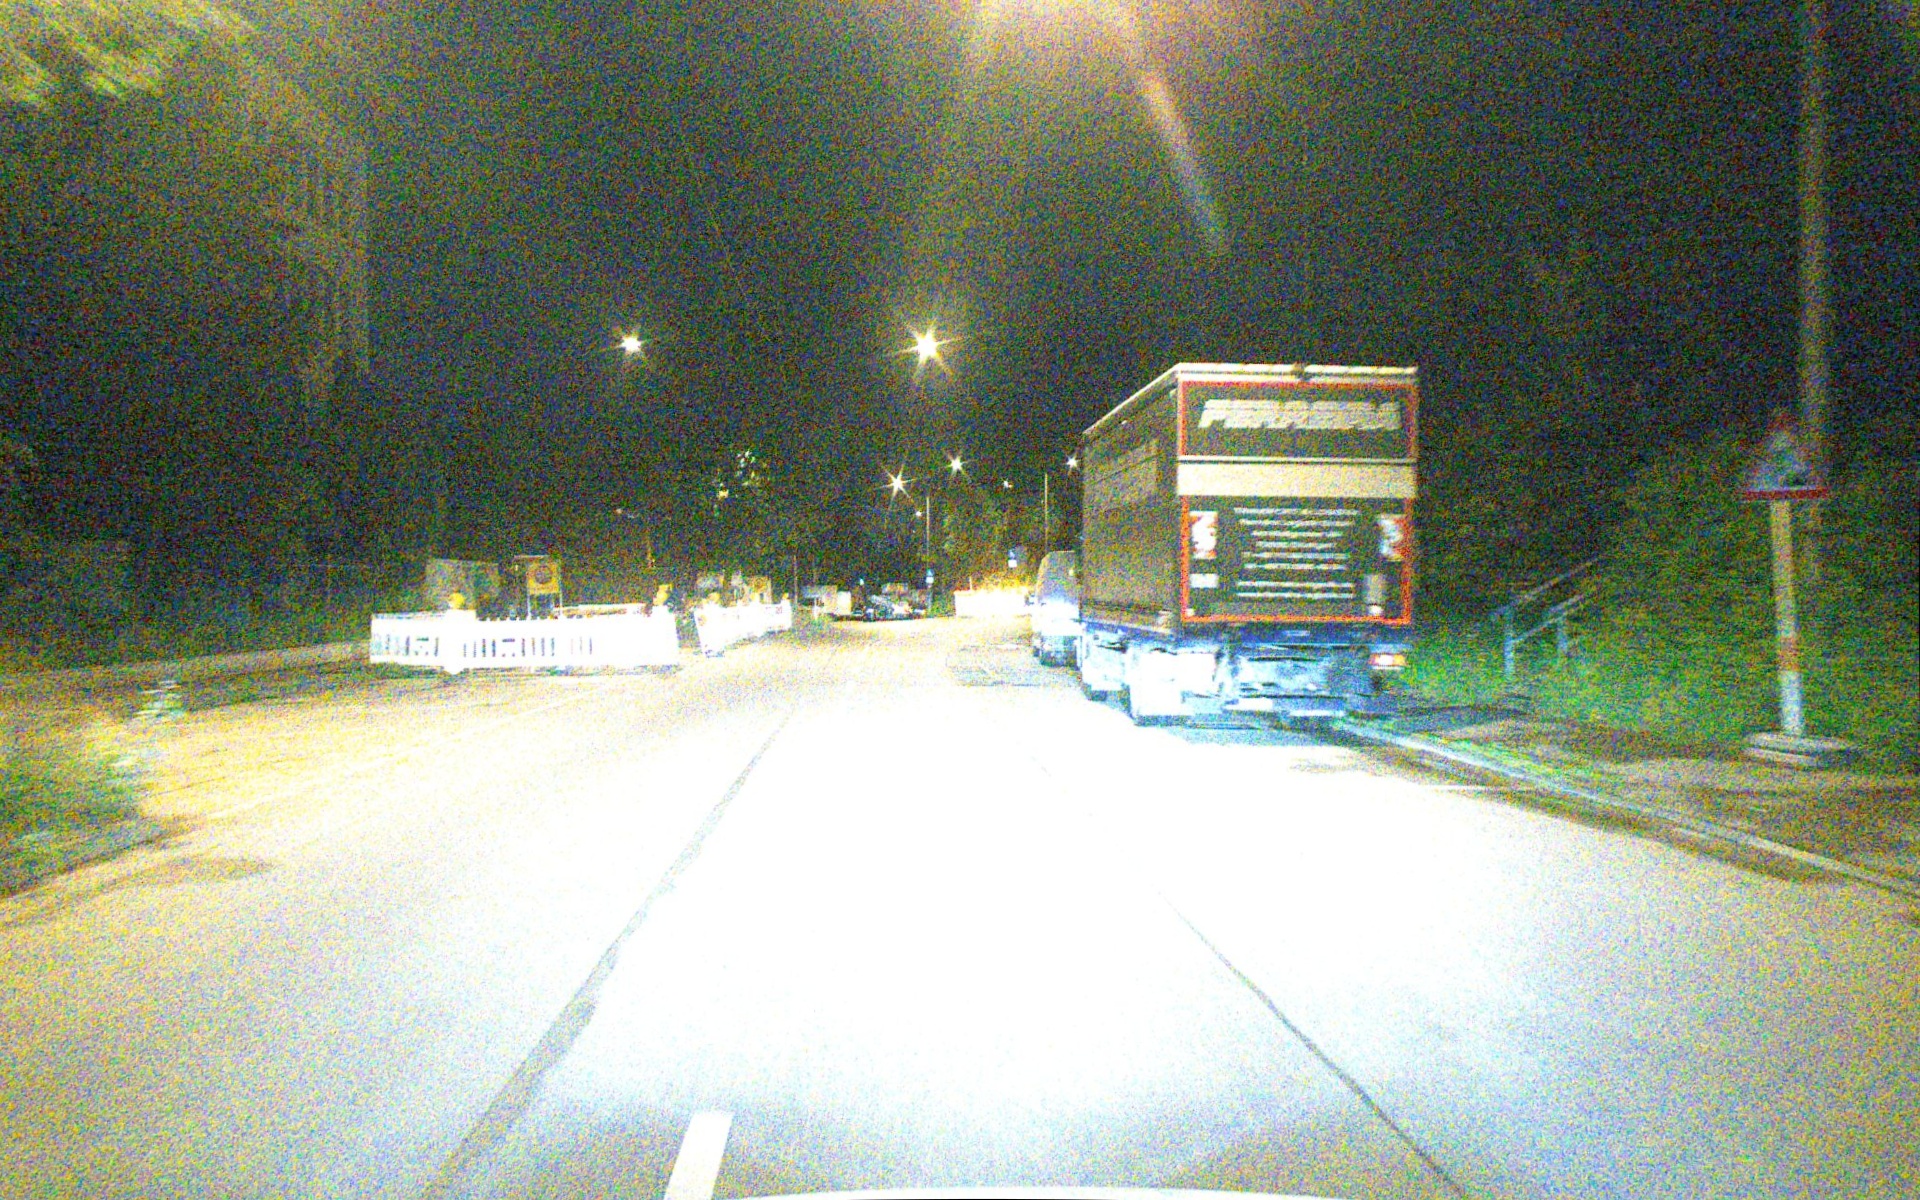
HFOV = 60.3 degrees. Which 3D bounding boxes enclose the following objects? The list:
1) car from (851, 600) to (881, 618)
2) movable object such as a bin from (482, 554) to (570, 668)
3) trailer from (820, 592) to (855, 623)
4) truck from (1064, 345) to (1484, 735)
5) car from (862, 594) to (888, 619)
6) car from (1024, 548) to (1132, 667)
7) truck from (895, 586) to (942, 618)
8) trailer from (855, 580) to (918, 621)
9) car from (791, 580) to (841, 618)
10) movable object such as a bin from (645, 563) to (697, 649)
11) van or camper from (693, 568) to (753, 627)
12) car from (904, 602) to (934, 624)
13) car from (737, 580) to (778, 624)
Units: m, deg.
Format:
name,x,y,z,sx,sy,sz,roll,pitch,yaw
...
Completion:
name,x,y,z,sx,sy,sz,roll,pitch,yaw
car,-9.448,0.886,165.799,1.951,1.729,4.209,0,-1,12
movable object such as a bin,-10.092,0.258,38.395,1.528,2.510,2.819,-2,0,-23
trailer,-11.455,0.664,154.776,1.951,2.862,4.707,-1,0,12
truck,3.493,-0.602,21.450,3.258,3.936,9.322,0,0,-3
car,-5.816,0.471,113.256,1.686,1.690,3.998,0,-1,-2
car,2.676,0.127,38.923,2.065,2.560,6.371,0,1,0
truck,-4.555,0.146,183.096,1.952,3.463,8.980,0,1,21
trailer,-4.407,0.043,98.404,1.543,2.198,5.169,-2,-1,-30
car,-12.860,-0.060,148.120,2.465,3.226,7.144,-2,0,11
movable object such as a bin,-9.971,0.164,57.187,1.542,2.781,3.693,-3,1,-9
van or camper,-13.538,-0.139,94.990,2.468,3.148,7.442,-2,0,-2
car,-3.521,1.136,141.756,1.684,1.853,4.003,0,-1,12
car,-14.659,0.163,120.141,2.469,2.978,7.195,-2,0,-4
